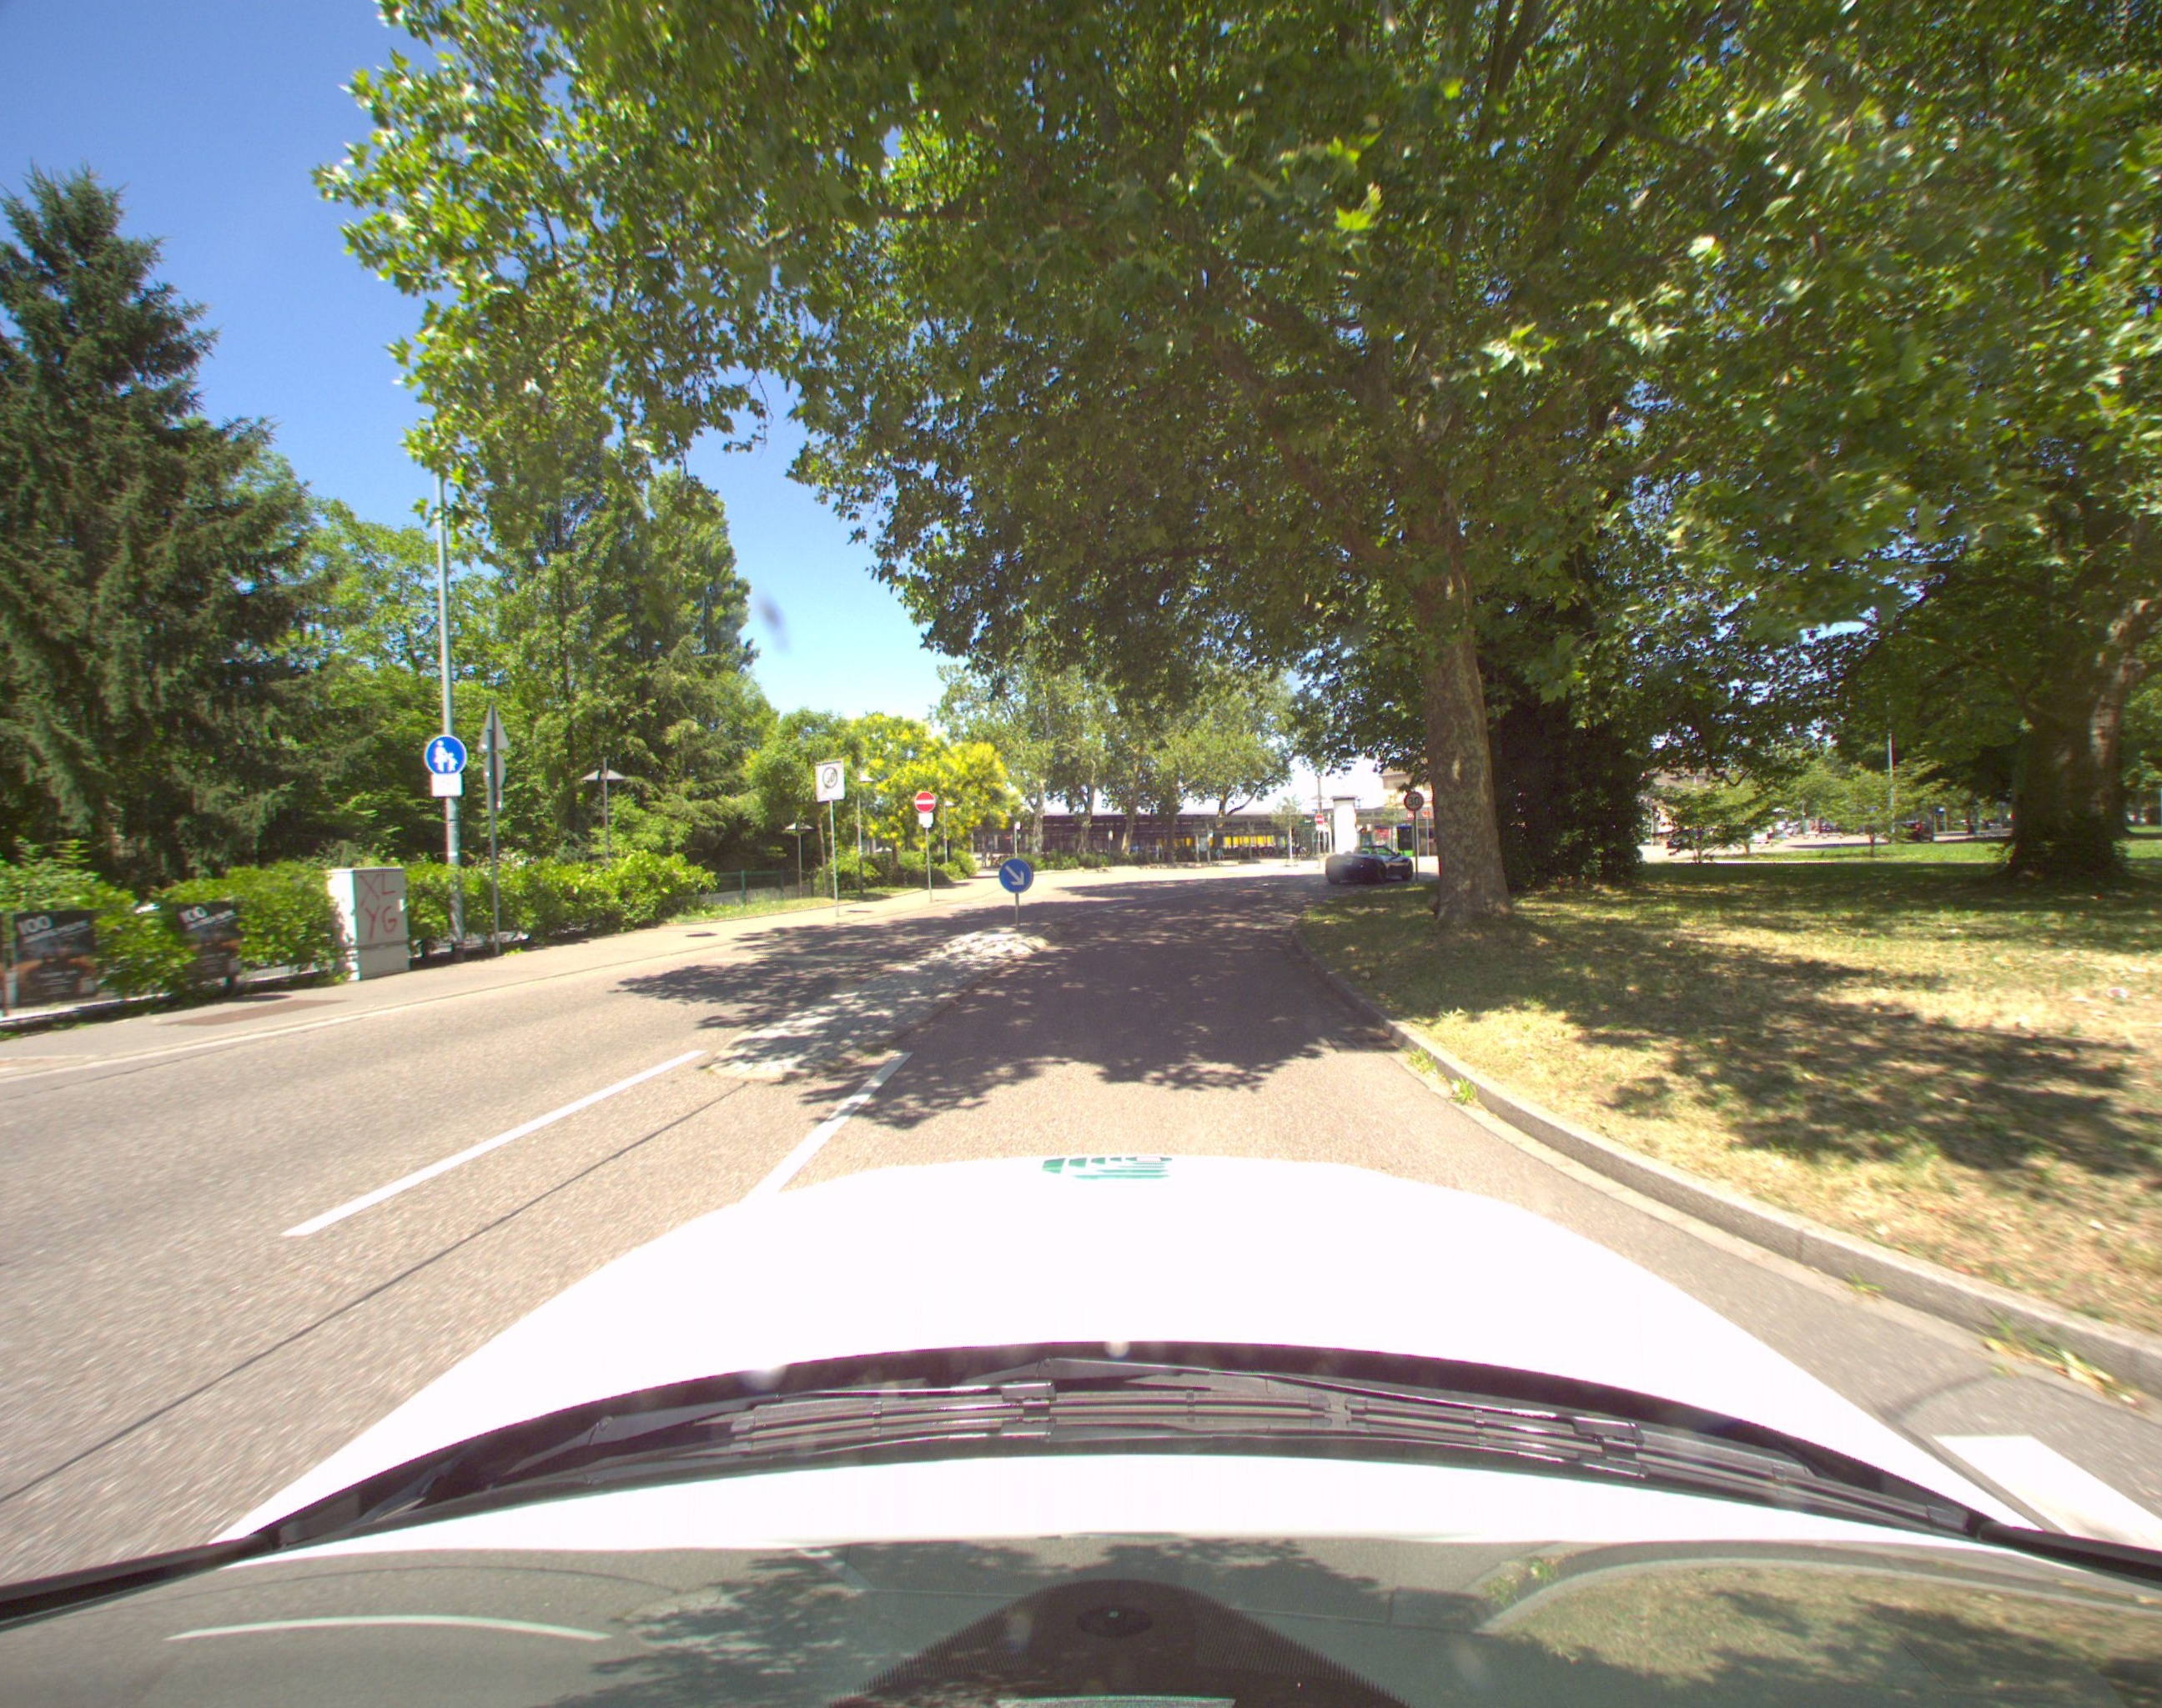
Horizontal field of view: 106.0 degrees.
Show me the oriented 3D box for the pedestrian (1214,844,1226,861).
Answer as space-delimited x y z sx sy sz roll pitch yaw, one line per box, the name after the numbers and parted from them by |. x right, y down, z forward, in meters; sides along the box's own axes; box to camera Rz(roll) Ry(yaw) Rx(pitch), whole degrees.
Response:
12.751 -0.138 74.572 0.825 1.464 0.600 -1 -1 -35 | pedestrian

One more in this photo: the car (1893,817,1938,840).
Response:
57.523 -1.748 56.109 3.724 1.478 1.704 -2 -1 -38 | car

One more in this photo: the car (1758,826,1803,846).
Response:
62.824 -1.610 73.123 4.173 1.444 1.802 -3 -3 -32 | car

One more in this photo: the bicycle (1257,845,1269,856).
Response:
19.546 -0.386 87.583 0.387 1.094 1.372 0 -1 -30 | bicycle

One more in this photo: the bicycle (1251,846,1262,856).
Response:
19.181 -0.356 89.057 0.387 1.094 1.372 0 -1 -30 | bicycle

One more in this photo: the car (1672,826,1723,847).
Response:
49.431 -1.415 65.246 4.804 1.478 1.706 -2 -1 -33 | car

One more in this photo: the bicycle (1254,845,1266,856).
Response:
19.188 -0.385 87.388 0.387 1.094 1.372 0 -1 -31 | bicycle

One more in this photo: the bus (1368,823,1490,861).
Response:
31.037 -1.145 72.134 13.946 3.041 2.655 -2 0 -34 | bus

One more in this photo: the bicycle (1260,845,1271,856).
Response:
19.896 -0.387 87.811 0.387 1.094 1.372 0 -1 -30 | bicycle

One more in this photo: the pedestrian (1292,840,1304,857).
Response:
21.255 -0.494 79.721 0.811 1.617 0.773 -2 1 39 | pedestrian

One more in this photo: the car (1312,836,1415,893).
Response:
10.147 0.324 29.106 2.104 1.848 4.074 -1 0 41 | car

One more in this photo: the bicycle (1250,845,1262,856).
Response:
18.767 -0.383 87.176 0.387 1.094 1.372 0 -1 -31 | bicycle

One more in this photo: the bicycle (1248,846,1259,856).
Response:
18.812 -0.355 88.837 0.387 1.094 1.372 0 -1 -30 | bicycle

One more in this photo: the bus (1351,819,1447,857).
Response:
32.448 -1.640 82.813 12.266 3.526 2.147 -2 0 -32 | bus
